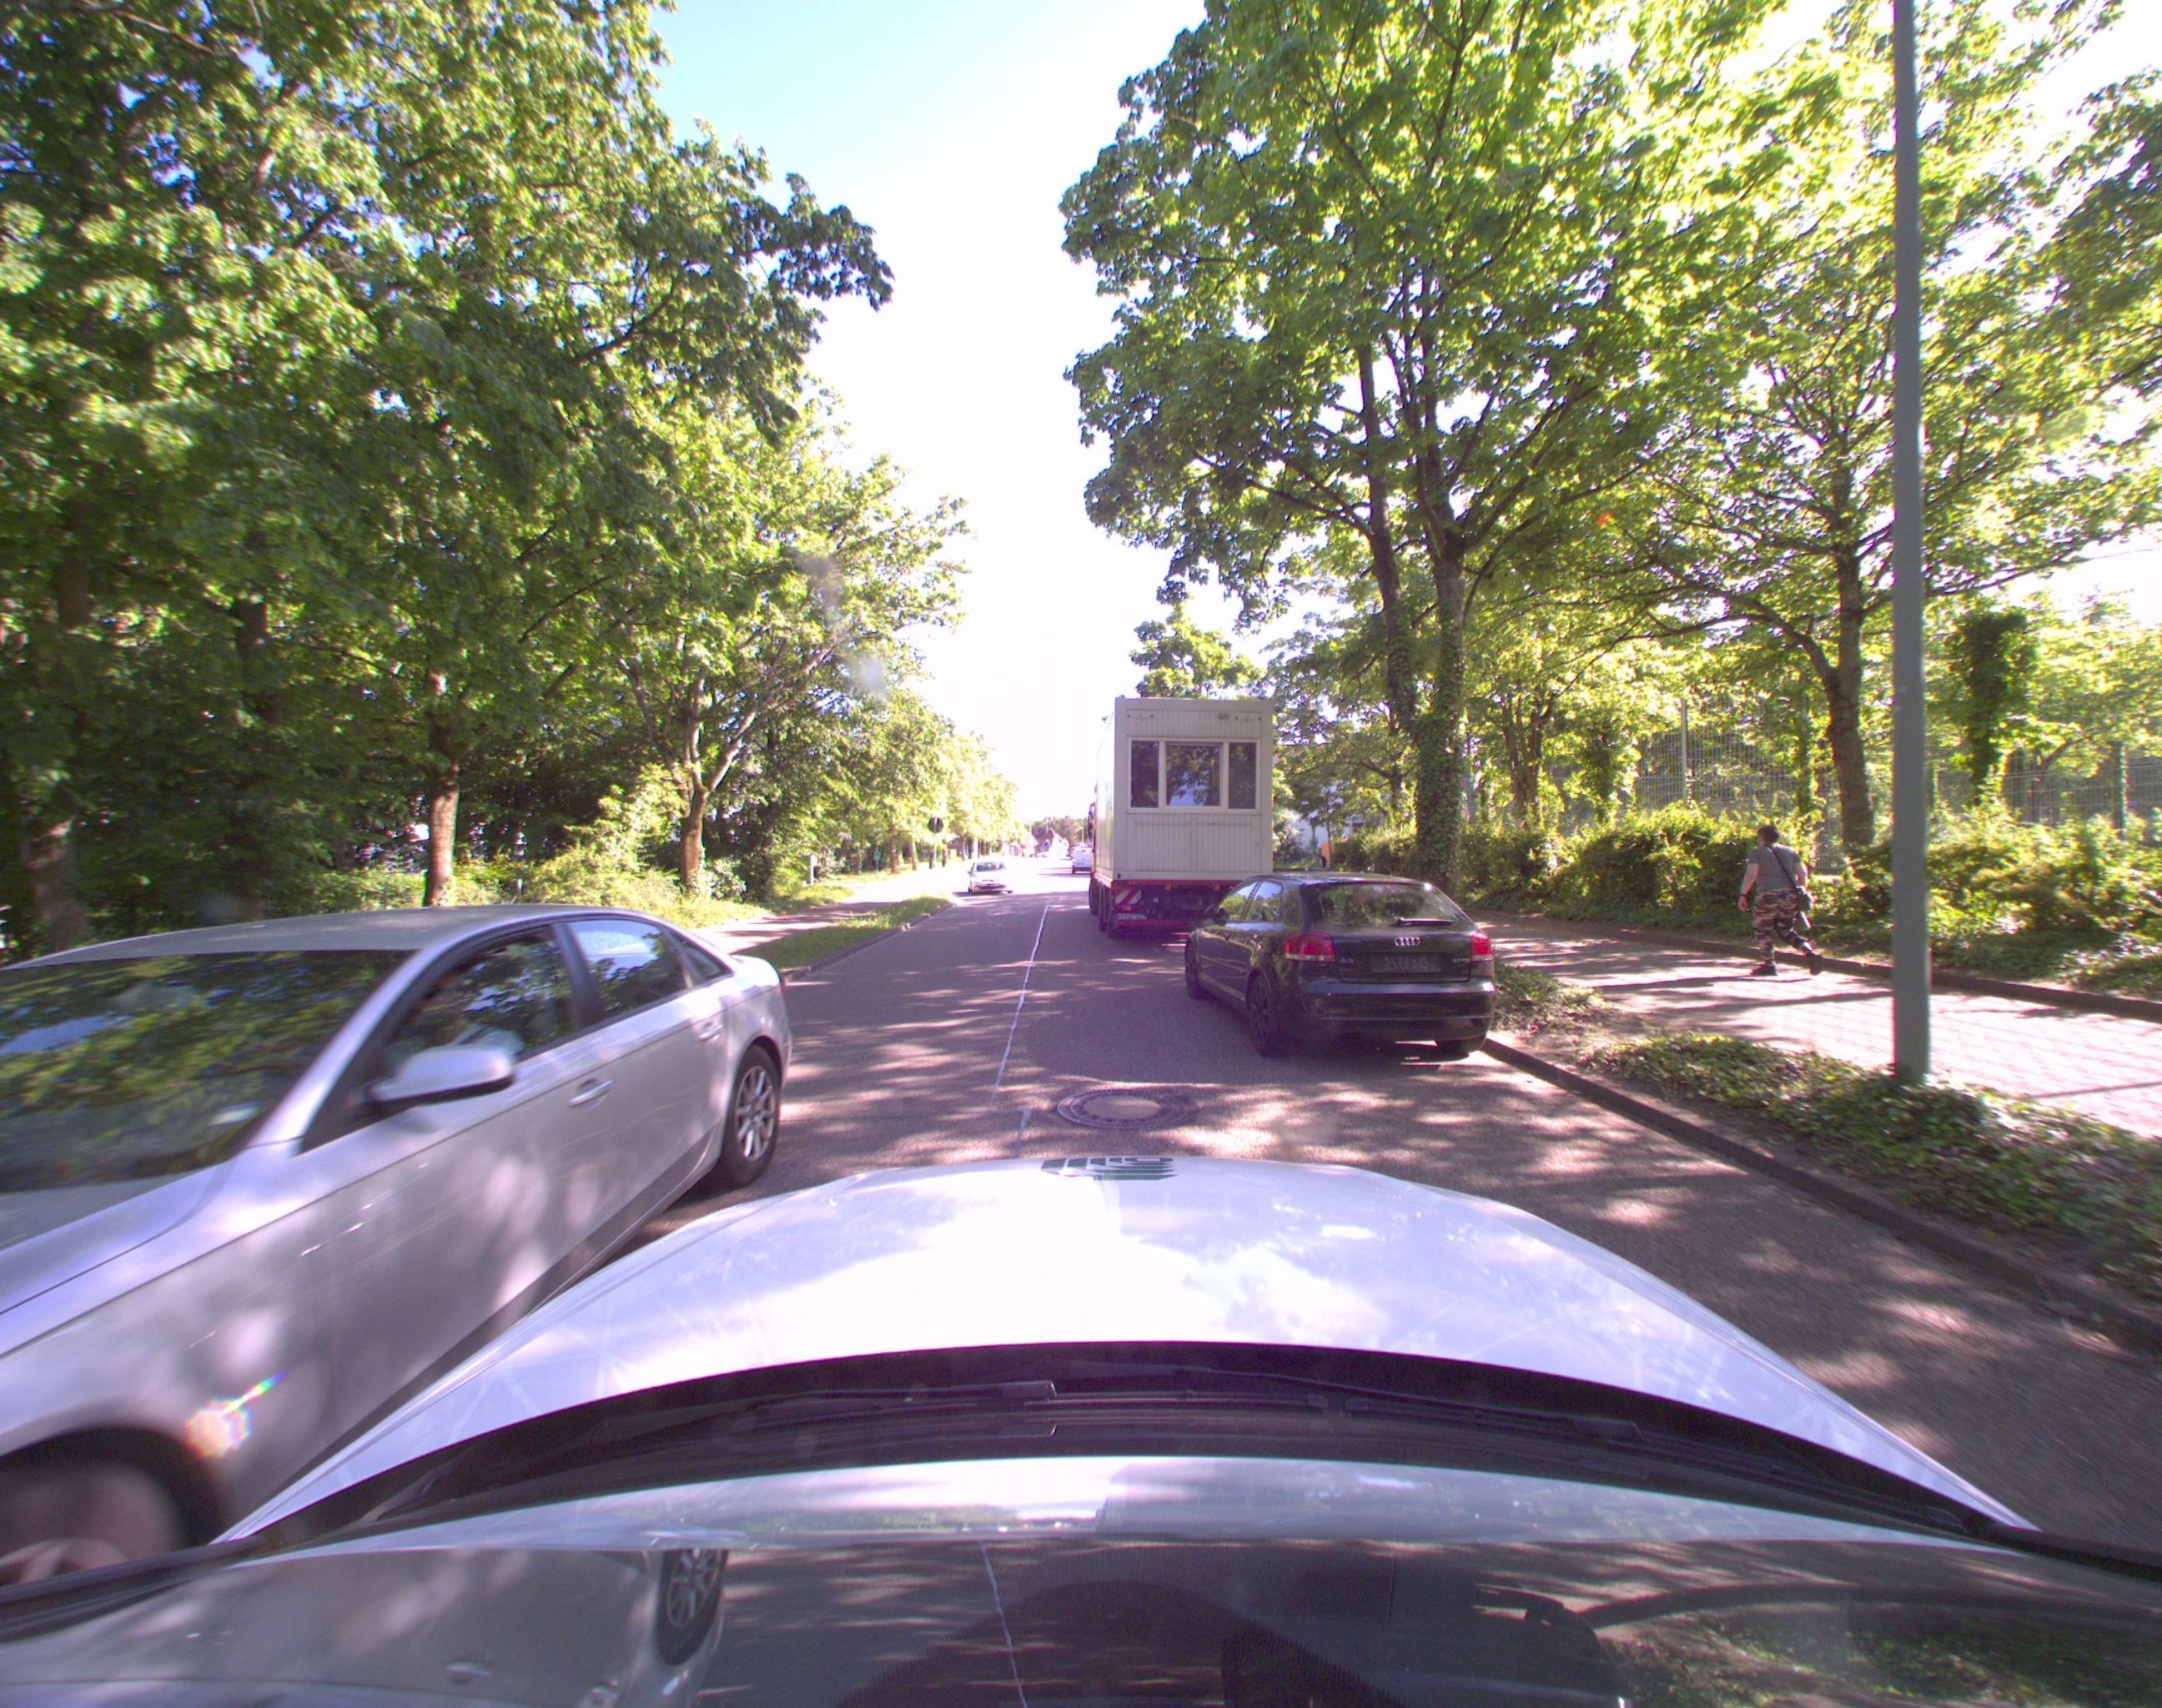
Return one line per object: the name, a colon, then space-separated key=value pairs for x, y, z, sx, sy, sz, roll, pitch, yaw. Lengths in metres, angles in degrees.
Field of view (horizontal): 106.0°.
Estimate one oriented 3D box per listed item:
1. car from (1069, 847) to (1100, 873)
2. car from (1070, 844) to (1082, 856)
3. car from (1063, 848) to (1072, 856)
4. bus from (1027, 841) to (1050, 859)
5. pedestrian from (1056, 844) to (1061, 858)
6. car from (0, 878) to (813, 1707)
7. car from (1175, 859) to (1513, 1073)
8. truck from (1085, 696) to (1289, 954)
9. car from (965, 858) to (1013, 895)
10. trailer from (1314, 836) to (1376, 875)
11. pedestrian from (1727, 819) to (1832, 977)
car: x=0.215 y=0.421 z=59.770 sx=1.943 sy=1.843 sz=3.993 roll=-1 pitch=0 yaw=-5
car: x=-0.835 y=-0.570 z=128.799 sx=1.777 sy=1.808 sz=3.996 roll=-2 pitch=0 yaw=-2
car: x=-3.070 y=-0.418 z=181.528 sx=1.777 sy=1.808 sz=3.996 roll=-2 pitch=0 yaw=-2
bus: x=-8.518 y=-0.826 z=164.582 sx=4.051 sy=3.349 sz=9.801 roll=-2 pitch=0 yaw=1
pedestrian: x=-3.534 y=-0.492 z=129.747 sx=0.750 sy=2.113 sz=0.799 roll=1 pitch=0 yaw=1
car: x=-2.424 y=0.891 z=2.505 sx=1.781 sy=1.416 sz=4.104 roll=-2 pitch=0 yaw=0
car: x=2.064 y=0.776 z=7.622 sx=1.637 sy=1.420 sz=3.994 roll=0 pitch=0 yaw=-4
truck: x=1.687 y=-0.462 z=17.839 sx=2.766 sy=3.996 sz=10.340 roll=0 pitch=0 yaw=-2
car: x=-4.066 y=0.927 z=35.446 sx=1.805 sy=1.420 sz=3.946 roll=-3 pitch=0 yaw=-10
trailer: x=15.012 y=0.092 z=46.379 sx=2.937 sy=2.116 sz=1.608 roll=-1 pitch=0 yaw=-4
pedestrian: x=7.417 y=0.449 z=8.678 sx=0.568 sy=1.608 sz=0.672 roll=-1 pitch=0 yaw=7
